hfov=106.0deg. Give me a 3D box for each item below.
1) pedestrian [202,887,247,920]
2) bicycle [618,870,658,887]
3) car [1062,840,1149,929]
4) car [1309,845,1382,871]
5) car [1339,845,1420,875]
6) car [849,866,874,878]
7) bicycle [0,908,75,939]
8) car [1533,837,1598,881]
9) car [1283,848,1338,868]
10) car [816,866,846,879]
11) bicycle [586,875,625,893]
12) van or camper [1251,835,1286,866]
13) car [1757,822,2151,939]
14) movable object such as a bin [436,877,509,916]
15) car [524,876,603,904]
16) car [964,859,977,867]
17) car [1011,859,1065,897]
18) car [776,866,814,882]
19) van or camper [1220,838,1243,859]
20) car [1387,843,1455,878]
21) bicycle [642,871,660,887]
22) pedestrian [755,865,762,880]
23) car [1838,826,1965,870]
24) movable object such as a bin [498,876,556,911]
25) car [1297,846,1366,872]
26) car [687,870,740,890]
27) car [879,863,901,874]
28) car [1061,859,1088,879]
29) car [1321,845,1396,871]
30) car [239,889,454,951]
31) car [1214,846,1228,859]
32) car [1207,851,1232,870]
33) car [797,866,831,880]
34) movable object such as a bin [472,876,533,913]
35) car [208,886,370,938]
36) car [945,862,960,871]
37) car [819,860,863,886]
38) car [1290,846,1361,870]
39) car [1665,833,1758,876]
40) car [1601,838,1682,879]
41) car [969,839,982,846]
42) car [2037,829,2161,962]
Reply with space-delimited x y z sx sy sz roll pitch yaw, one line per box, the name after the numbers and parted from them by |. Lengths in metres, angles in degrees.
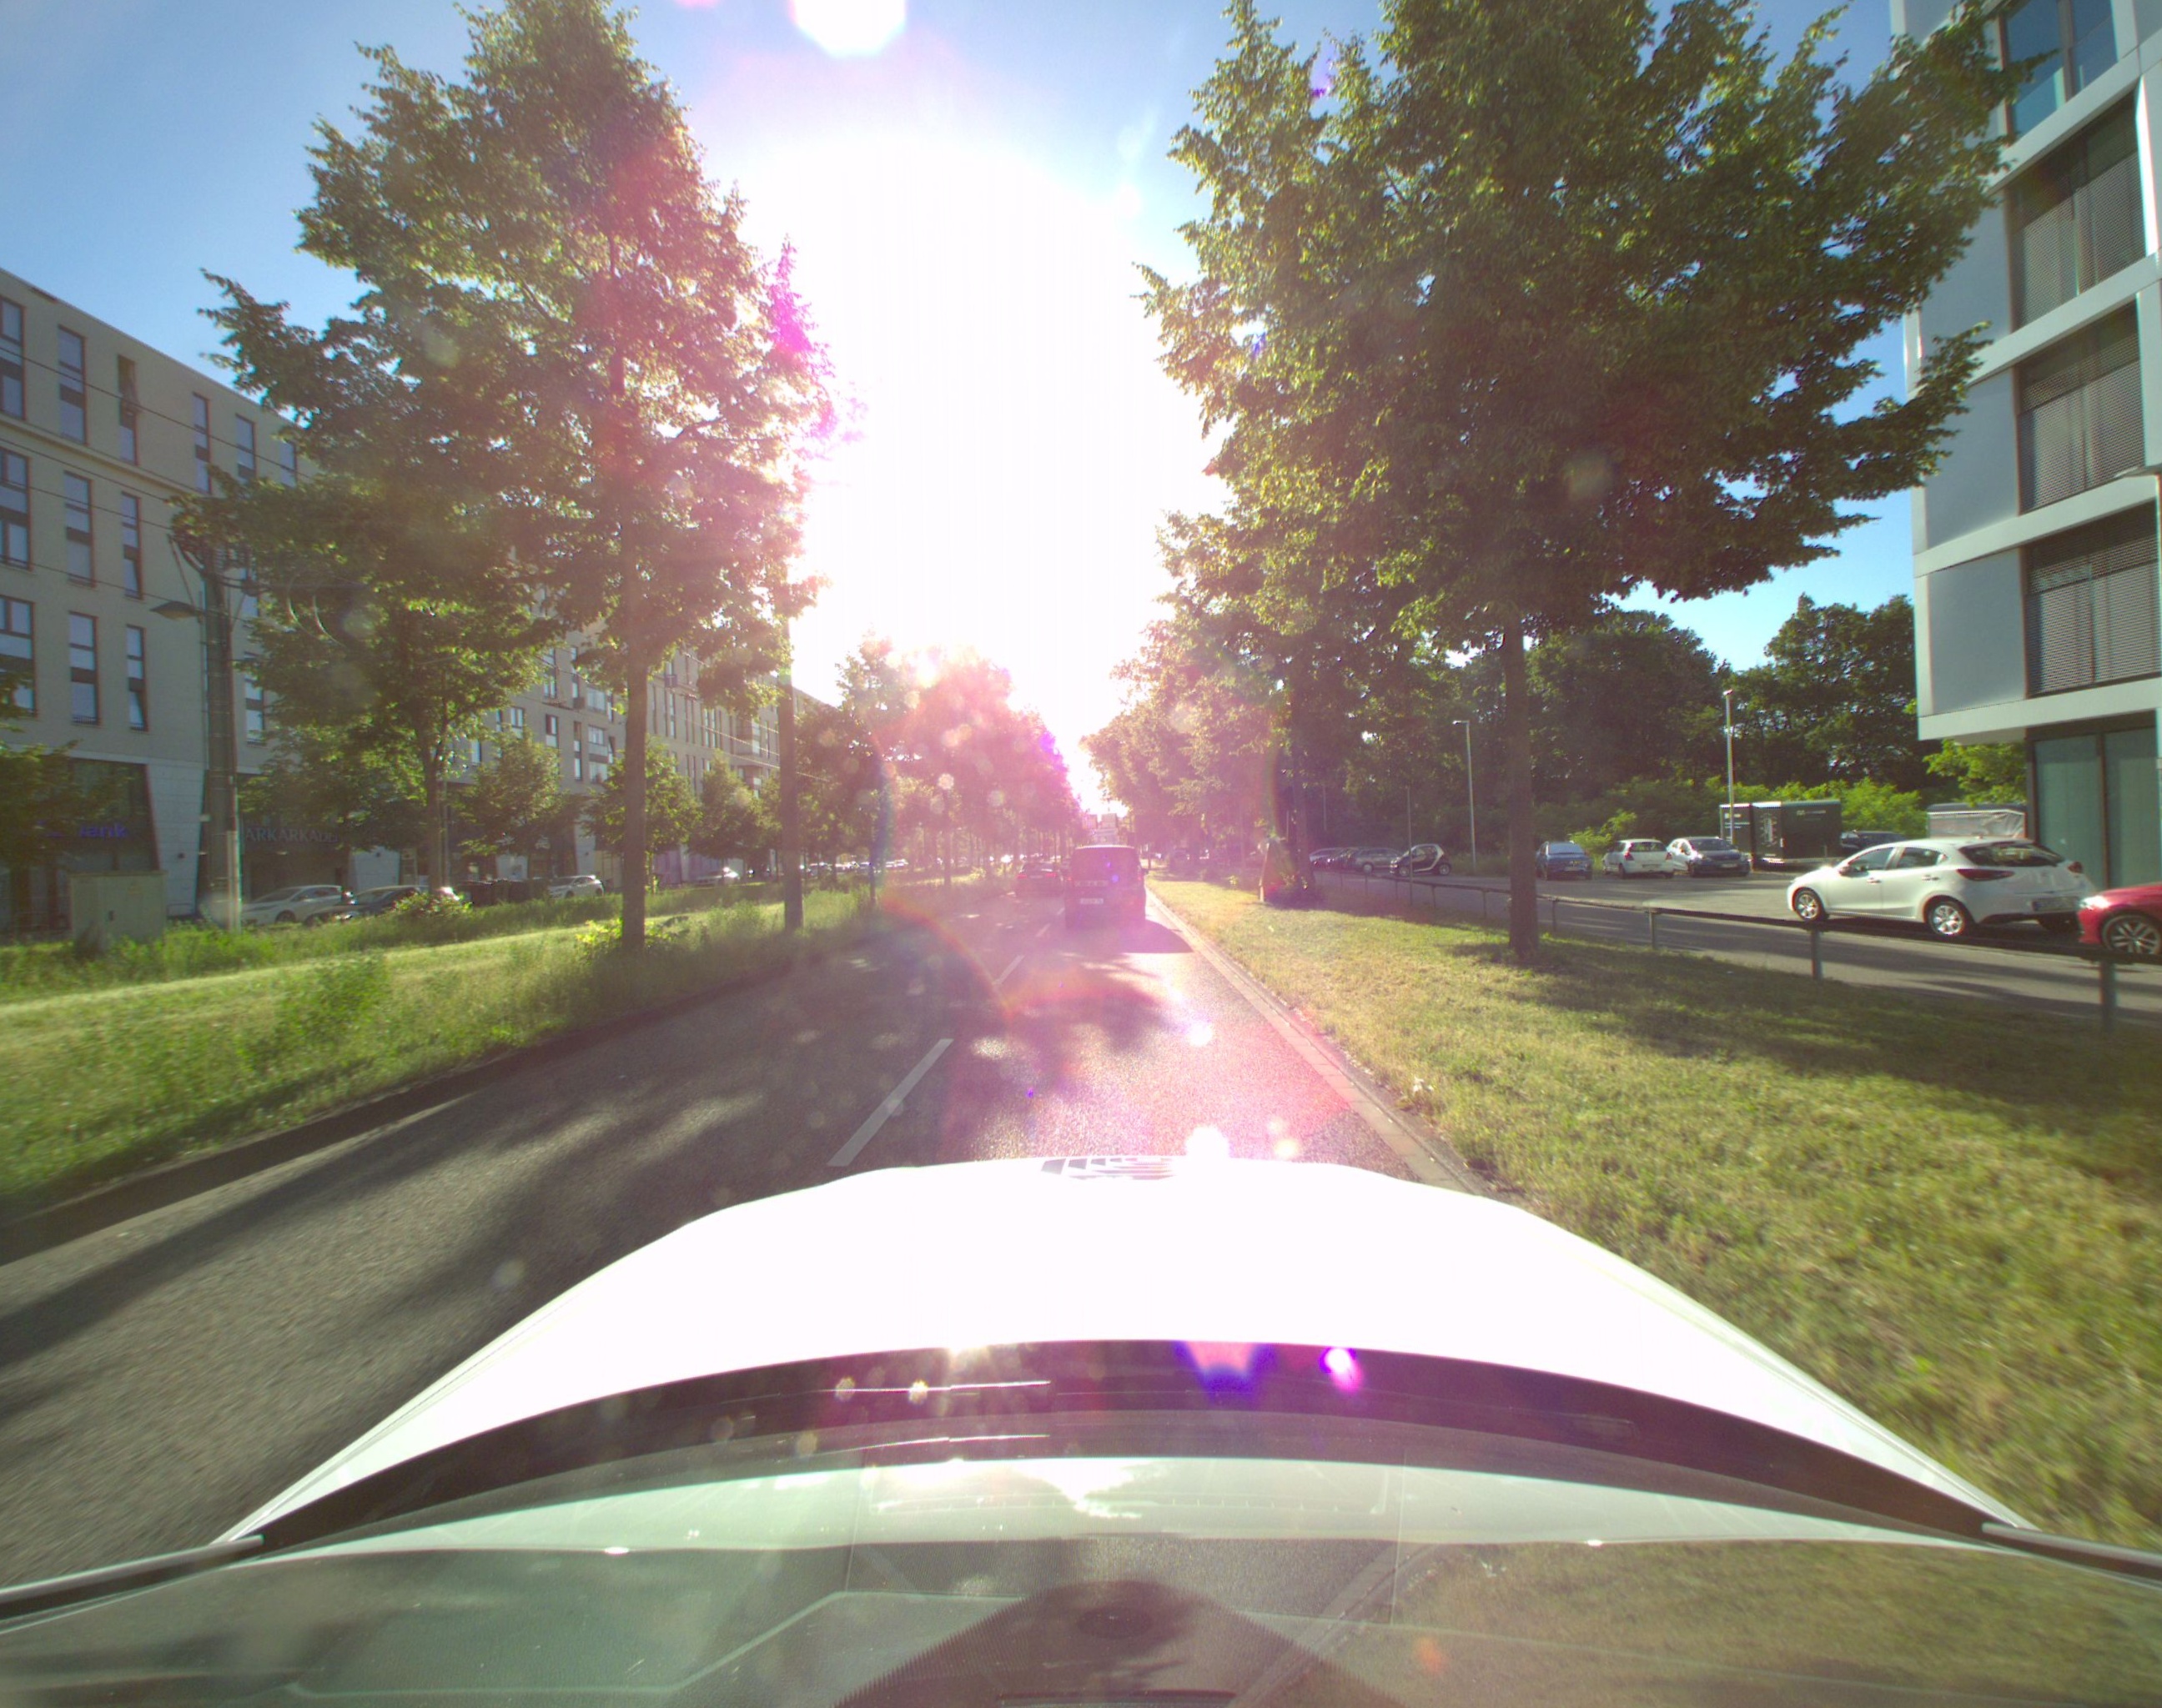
-38.681 2.224 36.800 0.946 1.468 1.025 0 -1 -7 | pedestrian
-35.883 1.986 65.975 2.777 1.281 0.941 0 -1 -27 | bicycle
0.487 0.649 18.948 1.803 1.838 3.998 0 -1 -1 | car
18.135 0.271 55.938 4.317 1.478 1.906 -4 1 -2 | car
17.366 0.354 47.462 4.063 1.468 1.717 -3 -1 2 | car
-27.945 2.285 104.034 1.987 1.441 4.455 0 -1 0 | car
-37.410 2.472 29.083 0.577 0.953 1.850 0 -1 4 | bicycle
19.413 0.173 32.761 1.579 1.545 3.840 -3 1 22 | car
18.731 0.316 66.539 3.979 1.505 1.763 -2 0 -4 | car
-28.136 2.088 91.759 1.987 1.441 4.455 0 -1 0 | car
-36.075 2.261 61.823 0.941 1.281 2.778 0 -1 9 | bicycle
18.056 -0.315 78.599 1.988 2.731 4.962 -5 -1 -1 | van or camper
14.037 0.384 13.613 1.984 1.486 4.408 -5 -1 5 | car
-29.431 2.032 39.448 1.964 1.794 2.010 0 -1 -1 | movable object such as a bin
-29.523 2.045 46.628 1.987 1.441 4.018 0 -1 0 | car
-24.735 1.992 182.656 1.985 1.608 4.614 0 -1 3 | car
-1.659 0.921 32.591 1.785 1.428 4.002 0 -1 2 | car
-28.492 1.987 81.218 1.986 1.441 4.780 0 -1 1 | car
21.002 -0.807 113.758 2.543 2.684 6.577 -4 0 7 | van or camper
16.590 0.317 39.836 2.748 1.550 1.466 -3 -1 11 | car
-36.005 2.082 68.210 0.596 1.281 1.608 0 -1 0 | bicycle
-38.034 2.179 95.987 0.634 1.651 0.719 0 -1 -5 | pedestrian
29.712 -0.180 29.651 1.766 1.496 3.901 -1 -1 20 | car
-29.445 2.066 43.309 1.964 1.794 1.556 0 -1 0 | movable object such as a bin
18.052 0.335 58.911 4.361 1.411 2.003 -6 0 4 | car
-29.111 2.016 64.687 1.987 1.441 4.924 0 -1 0 | car
-27.007 2.020 115.339 1.950 1.441 4.268 0 -1 2 | car
-0.529 1.190 66.229 1.986 1.618 4.002 0 -1 2 | car
17.979 0.261 52.847 4.179 1.498 1.781 -3 0 -1 | car
-20.671 1.805 23.242 1.986 1.441 4.457 0 -1 2 | car
23.372 -0.233 136.288 2.076 2.013 4.952 -1 0 7 | car
12.499 0.591 73.788 1.983 1.640 4.006 0 -1 6 | car
-28.196 1.973 85.994 1.986 1.441 4.458 0 -1 2 | car
-29.480 2.050 41.507 1.964 1.794 1.556 0 -1 0 | movable object such as a bin
-30.372 2.173 31.451 1.987 1.729 4.337 0 -1 0 | car
-25.307 2.423 160.792 1.871 1.621 4.614 0 -1 3 | car
-19.208 1.473 65.364 1.984 2.014 4.005 0 -1 5 | car
18.510 0.298 61.839 4.701 1.406 2.001 -5 0 2 | car
24.127 0.032 31.322 1.703 1.540 3.971 -1 -1 20 | car
22.053 0.190 32.192 1.732 1.536 3.901 -1 -1 20 | car
-22.082 -2.341 170.592 1.904 1.325 4.614 0 -1 3 | car
13.598 0.448 8.650 1.857 1.486 4.275 -5 -1 2 | car
